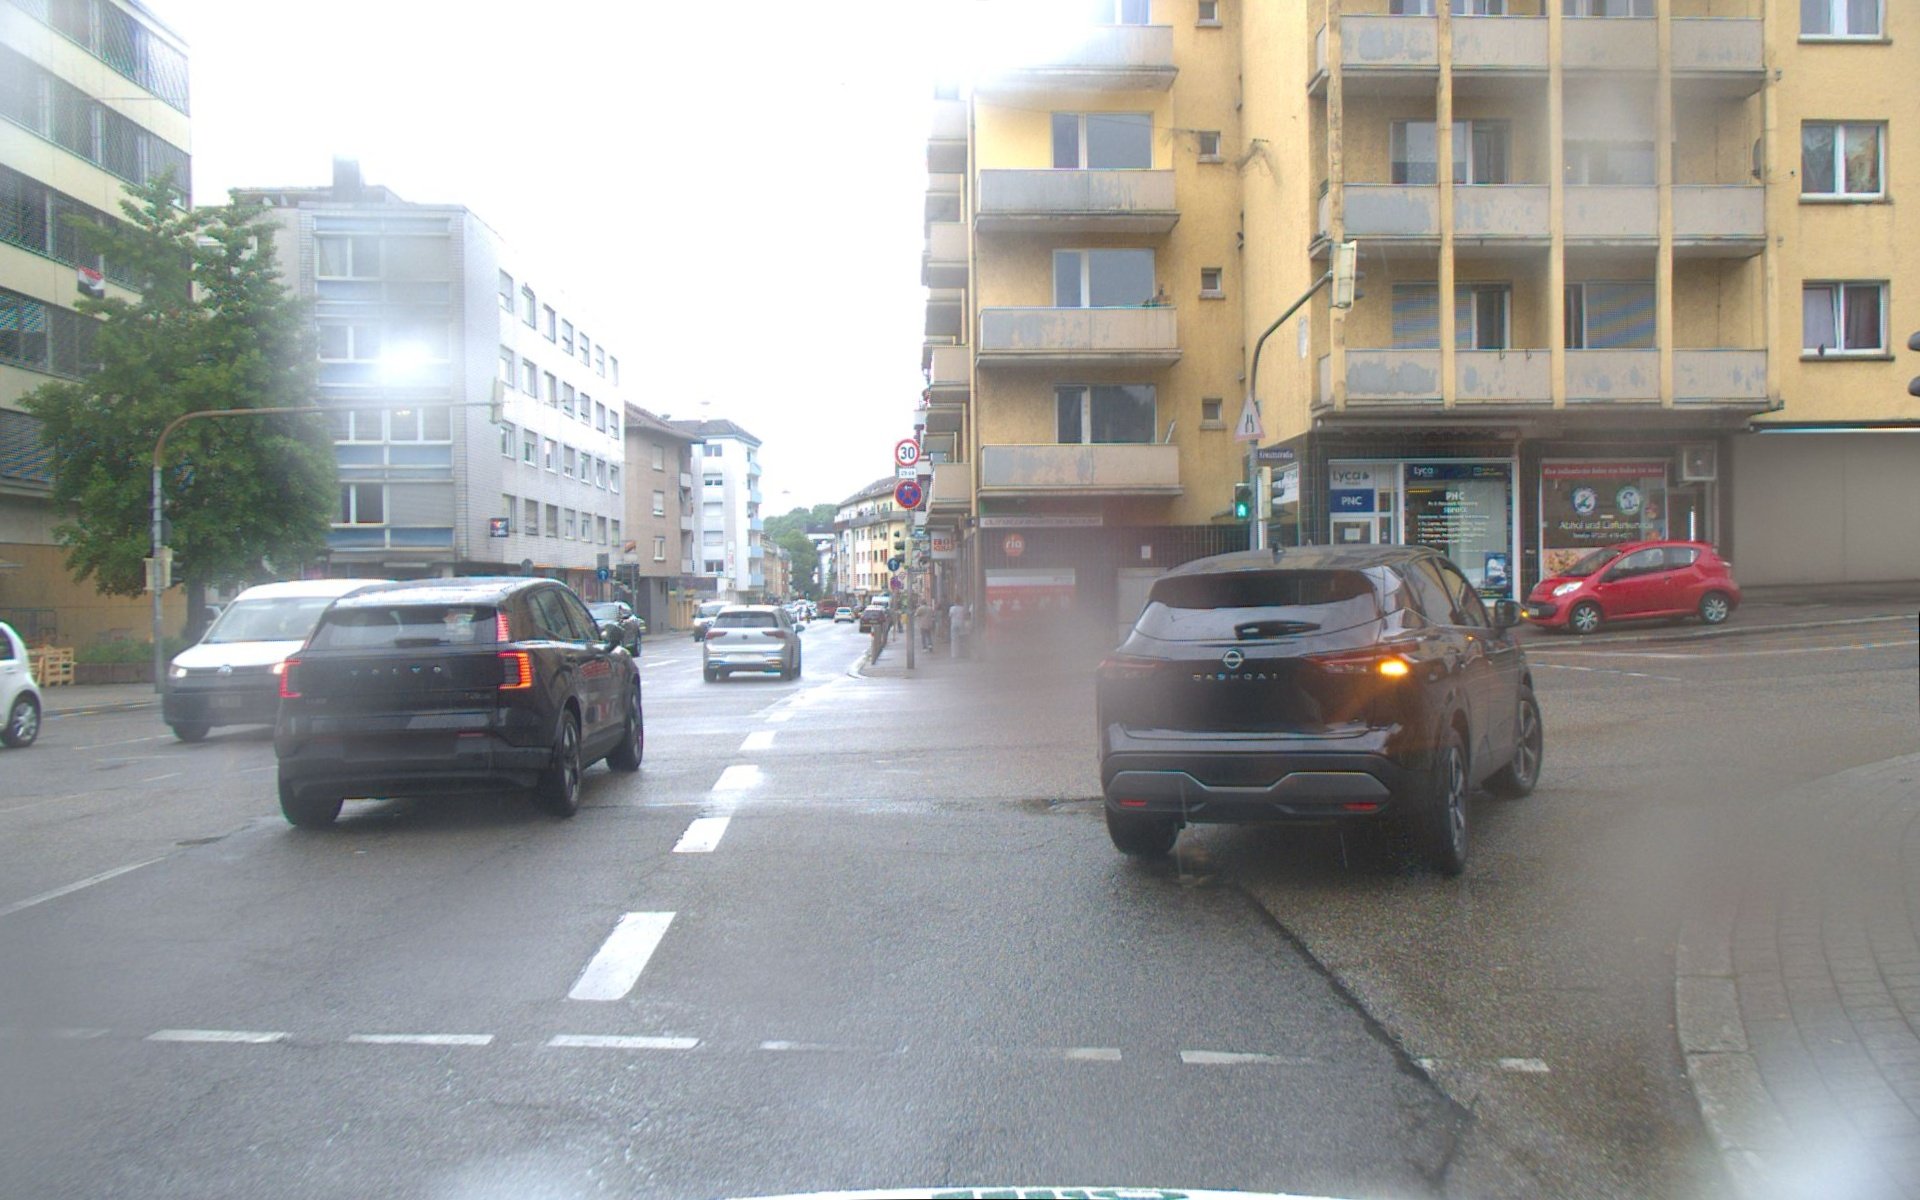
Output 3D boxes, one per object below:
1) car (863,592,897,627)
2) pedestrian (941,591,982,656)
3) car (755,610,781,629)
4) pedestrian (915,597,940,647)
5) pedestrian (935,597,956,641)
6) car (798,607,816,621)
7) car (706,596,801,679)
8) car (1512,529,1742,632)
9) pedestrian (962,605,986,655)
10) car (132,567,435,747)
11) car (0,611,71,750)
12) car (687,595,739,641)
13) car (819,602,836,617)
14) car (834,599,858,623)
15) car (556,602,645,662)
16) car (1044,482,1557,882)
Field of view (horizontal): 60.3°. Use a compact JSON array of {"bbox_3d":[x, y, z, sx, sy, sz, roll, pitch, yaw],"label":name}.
[{"bbox_3d":[-5.101,0.565,105.087,1.955,2.048,3.996,-4,0,-4],"label":"car"},{"bbox_3d":[0.036,0.595,42.742,0.819,1.584,0.832,-7,1,-4],"label":"pedestrian"},{"bbox_3d":[-16.846,1.683,145.001,1.954,1.512,3.997,-3,1,-3],"label":"car"},{"bbox_3d":[-1.020,0.694,52.520,0.689,1.585,0.630,-1,1,7],"label":"pedestrian"},{"bbox_3d":[-0.549,0.697,61.491,0.614,1.585,0.706,-1,1,12],"label":"pedestrian"},{"bbox_3d":[-17.950,1.632,194.487,1.954,1.512,3.997,-3,1,-3],"label":"car"},{"bbox_3d":[-4.138,0.699,33.087,1.734,1.469,3.993,-2,1,-7],"label":"car"},{"bbox_3d":[11.693,-0.357,29.095,3.403,1.584,1.472,-3,2,-4],"label":"car"},{"bbox_3d":[0.357,0.779,43.027,0.454,1.254,0.554,-7,0,-2],"label":"pedestrian"},{"bbox_3d":[-7.919,0.587,19.851,1.743,1.847,4.406,-3,0,0],"label":"car"},{"bbox_3d":[-11.431,0.957,17.623,1.743,1.504,3.793,-4,0,1],"label":"car"},{"bbox_3d":[-11.831,0.835,79.402,1.872,2.048,3.999,-4,0,-2],"label":"car"},{"bbox_3d":[-16.251,1.172,203.224,1.954,1.666,4.827,-3,1,-3],"label":"car"},{"bbox_3d":[-10.651,1.010,155.009,1.953,2.048,3.999,-3,0,-1],"label":"car"},{"bbox_3d":[-10.747,0.919,49.665,1.743,1.624,3.793,-3,0,1],"label":"car"},{"bbox_3d":[2.194,0.299,9.576,1.921,1.680,4.000,-4,4,25],"label":"car"}]
